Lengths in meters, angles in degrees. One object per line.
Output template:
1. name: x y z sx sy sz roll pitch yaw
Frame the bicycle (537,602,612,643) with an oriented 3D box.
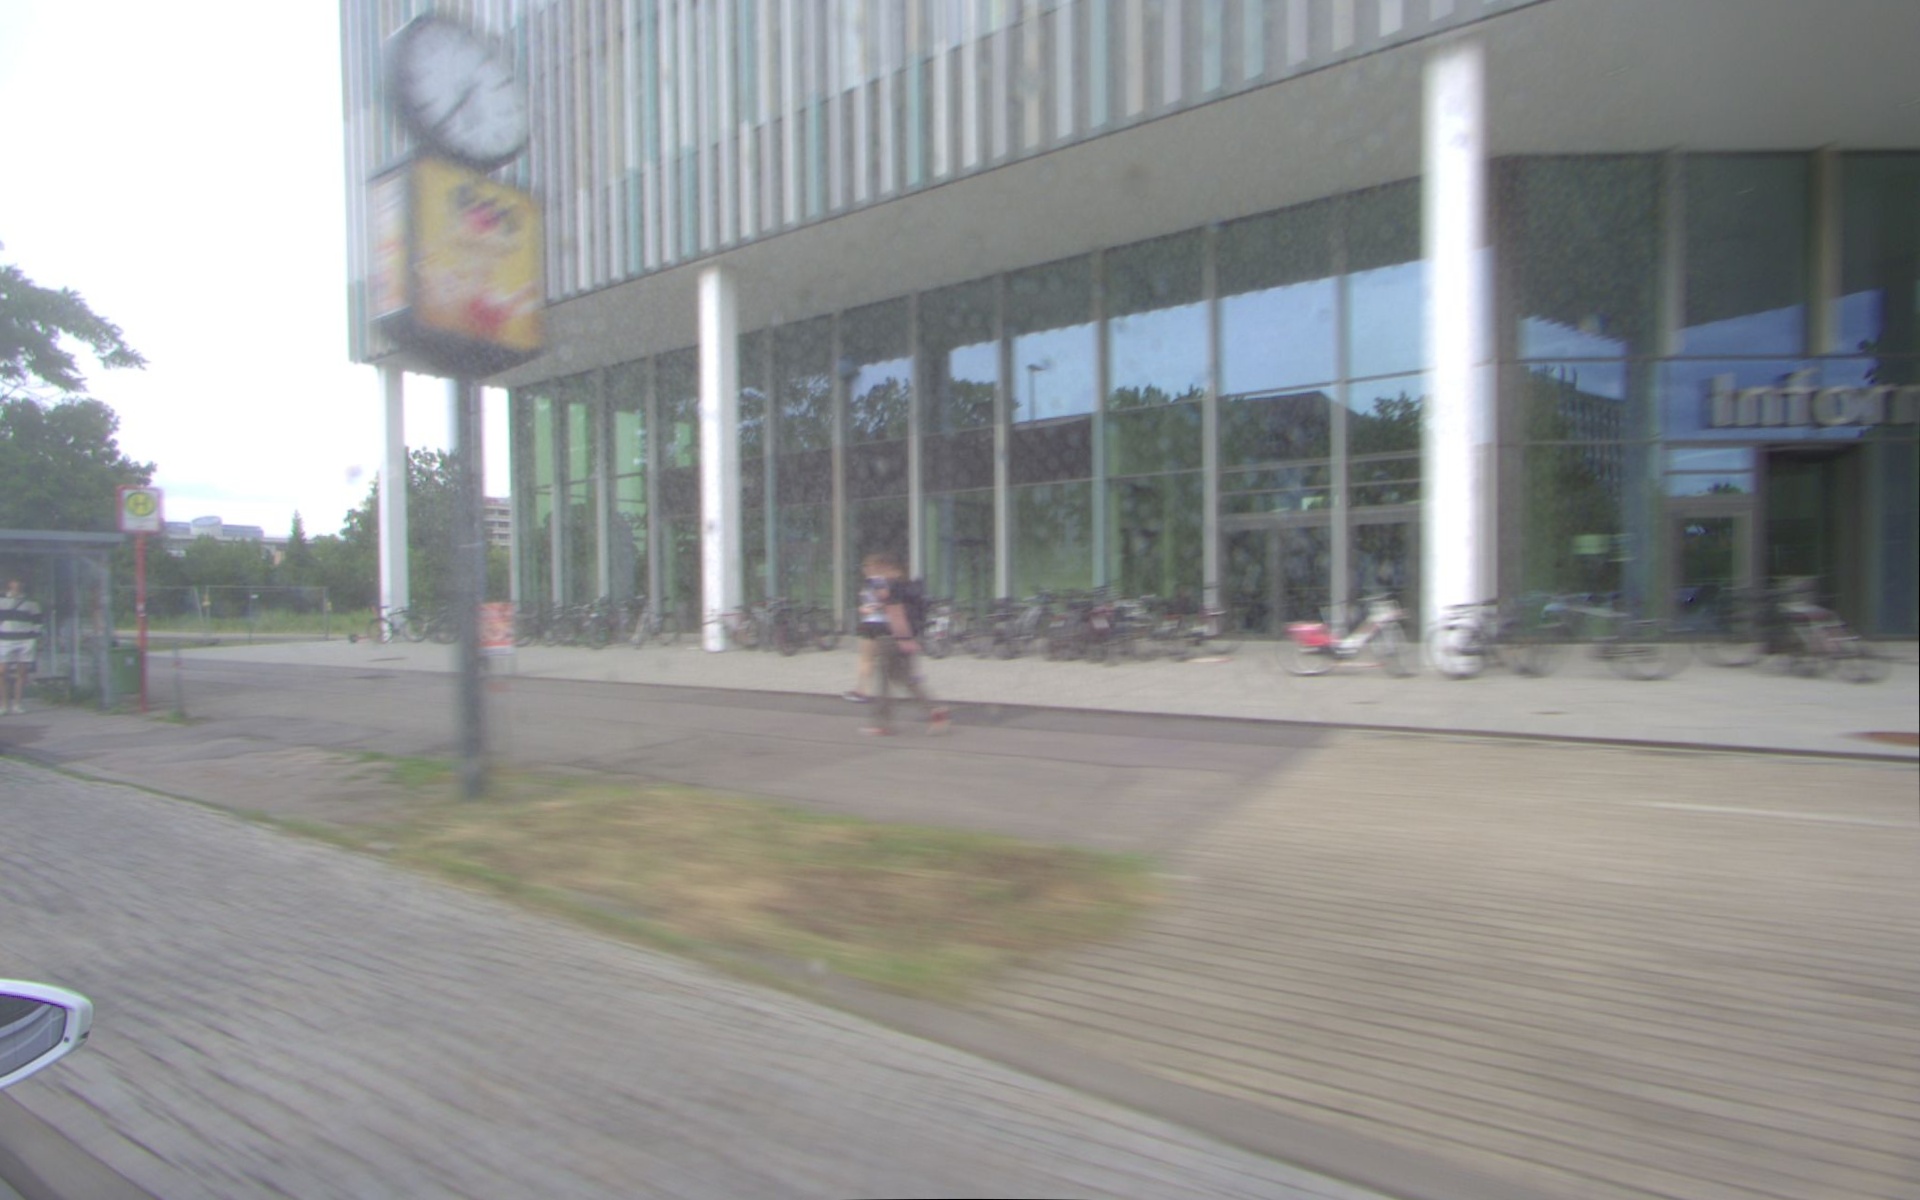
1. bicycle: -9.098 0.513 23.681 0.549 0.886 1.601 0 2 35

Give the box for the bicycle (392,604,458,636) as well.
1. bicycle: -15.317 0.560 28.717 0.548 0.886 1.603 0 1 31

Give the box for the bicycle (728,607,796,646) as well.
1. bicycle: -4.192 0.552 21.254 0.549 0.756 1.429 0 2 35

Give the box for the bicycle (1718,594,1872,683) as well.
1. bicycle: 9.595 0.417 11.579 0.432 0.942 1.487 0 1 -4

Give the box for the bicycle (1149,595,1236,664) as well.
1. bicycle: 3.663 0.431 15.685 0.563 0.949 1.595 2 4 45

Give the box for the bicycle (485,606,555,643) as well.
1. bicycle: -11.509 0.636 26.234 0.549 0.886 1.601 0 2 35

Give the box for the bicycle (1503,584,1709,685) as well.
1. bicycle: 7.439 0.388 11.639 1.930 1.095 0.607 -1 3 24

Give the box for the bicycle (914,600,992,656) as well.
1. bicycle: -0.111 0.479 17.826 0.549 0.887 1.601 0 2 35

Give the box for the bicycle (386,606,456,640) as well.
1. bicycle: -14.934 0.626 27.786 0.549 0.886 1.601 0 2 35

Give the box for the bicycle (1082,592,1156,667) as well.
1. bicycle: 2.481 0.438 15.512 0.551 1.058 1.395 0 3 35

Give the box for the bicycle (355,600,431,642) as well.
1. bicycle: -16.438 0.606 29.046 0.617 1.097 1.789 0 3 33

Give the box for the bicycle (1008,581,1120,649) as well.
1. bicycle: 1.933 0.265 18.650 1.951 1.160 0.647 -2 3 -14

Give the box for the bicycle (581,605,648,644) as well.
1. bicycle: -8.147 0.575 23.667 0.549 0.850 1.450 0 2 35

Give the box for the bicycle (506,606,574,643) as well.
1. bicycle: -10.749 0.613 25.671 0.509 0.896 1.599 0 1 34

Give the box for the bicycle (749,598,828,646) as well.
1. bicycle: -3.588 0.440 21.064 0.510 0.959 1.683 0 1 41

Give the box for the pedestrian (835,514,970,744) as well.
1. pedestrian: -0.536 0.250 9.470 0.883 2.041 0.839 0 3 36

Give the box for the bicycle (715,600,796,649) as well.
1. bicycle: -3.996 0.459 19.639 0.549 0.886 1.601 0 2 35

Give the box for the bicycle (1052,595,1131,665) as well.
1. bicycle: 2.130 0.454 16.040 0.549 0.996 1.600 0 3 35

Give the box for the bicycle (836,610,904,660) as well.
1. bicycle: -1.740 0.667 19.513 0.361 0.908 1.601 0 1 35

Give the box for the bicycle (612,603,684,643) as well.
1. bicycle: -7.115 0.504 22.887 0.549 0.845 1.527 0 2 35

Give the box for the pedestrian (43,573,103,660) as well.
1. pedestrian: -21.344 0.379 24.096 0.882 2.041 0.840 0 1 34

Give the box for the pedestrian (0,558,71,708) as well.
1. pedestrian: -13.349 0.433 14.153 0.841 2.042 0.909 2 4 34

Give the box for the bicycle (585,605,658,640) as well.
1. bicycle: -7.767 0.500 23.038 0.549 0.726 1.555 0 2 35

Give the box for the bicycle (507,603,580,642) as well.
1. bicycle: -10.213 0.532 24.592 0.549 0.886 1.601 0 2 35

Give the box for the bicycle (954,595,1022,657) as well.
1. bicycle: 0.508 0.445 17.626 0.543 1.021 1.237 0 2 39

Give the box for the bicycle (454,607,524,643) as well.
1. bicycle: -12.570 0.656 26.763 0.549 0.886 1.601 0 2 35

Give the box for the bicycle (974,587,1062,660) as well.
1. bicycle: 1.012 0.378 17.171 0.566 1.106 1.634 0 4 43

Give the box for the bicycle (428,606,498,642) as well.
1. bicycle: -13.481 0.634 27.207 0.549 0.886 1.601 0 2 35

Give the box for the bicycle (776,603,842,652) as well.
1. bicycle: -2.960 0.529 19.732 0.549 0.886 1.279 0 2 35

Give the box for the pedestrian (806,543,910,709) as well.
1. pedestrian: -1.195 0.295 11.810 0.882 1.860 0.840 0 1 33

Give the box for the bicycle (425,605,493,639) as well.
1. bicycle: -13.859 0.598 27.757 0.549 0.886 1.601 0 2 35

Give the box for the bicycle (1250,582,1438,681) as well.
1. bicycle: 4.897 0.390 12.826 2.168 1.156 0.634 -1 3 31

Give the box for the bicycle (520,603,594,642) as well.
1. bicycle: -9.747 0.529 24.253 0.549 0.886 1.601 0 2 35

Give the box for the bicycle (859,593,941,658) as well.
1. bicycle: -1.109 0.450 18.806 0.565 1.117 1.637 0 3 38

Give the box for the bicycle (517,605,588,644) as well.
1. bicycle: -10.289 0.603 25.352 0.549 0.886 1.601 0 2 35

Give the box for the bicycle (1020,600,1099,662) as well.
1. bicycle: 1.649 0.481 16.382 0.549 0.887 1.600 0 3 35

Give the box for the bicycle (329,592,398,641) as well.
1. bicycle: -17.853 0.478 29.986 1.635 1.352 0.459 -4 3 -42

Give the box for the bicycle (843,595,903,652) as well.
1. bicycle: -1.711 0.452 19.754 0.429 1.064 1.191 0 2 41
